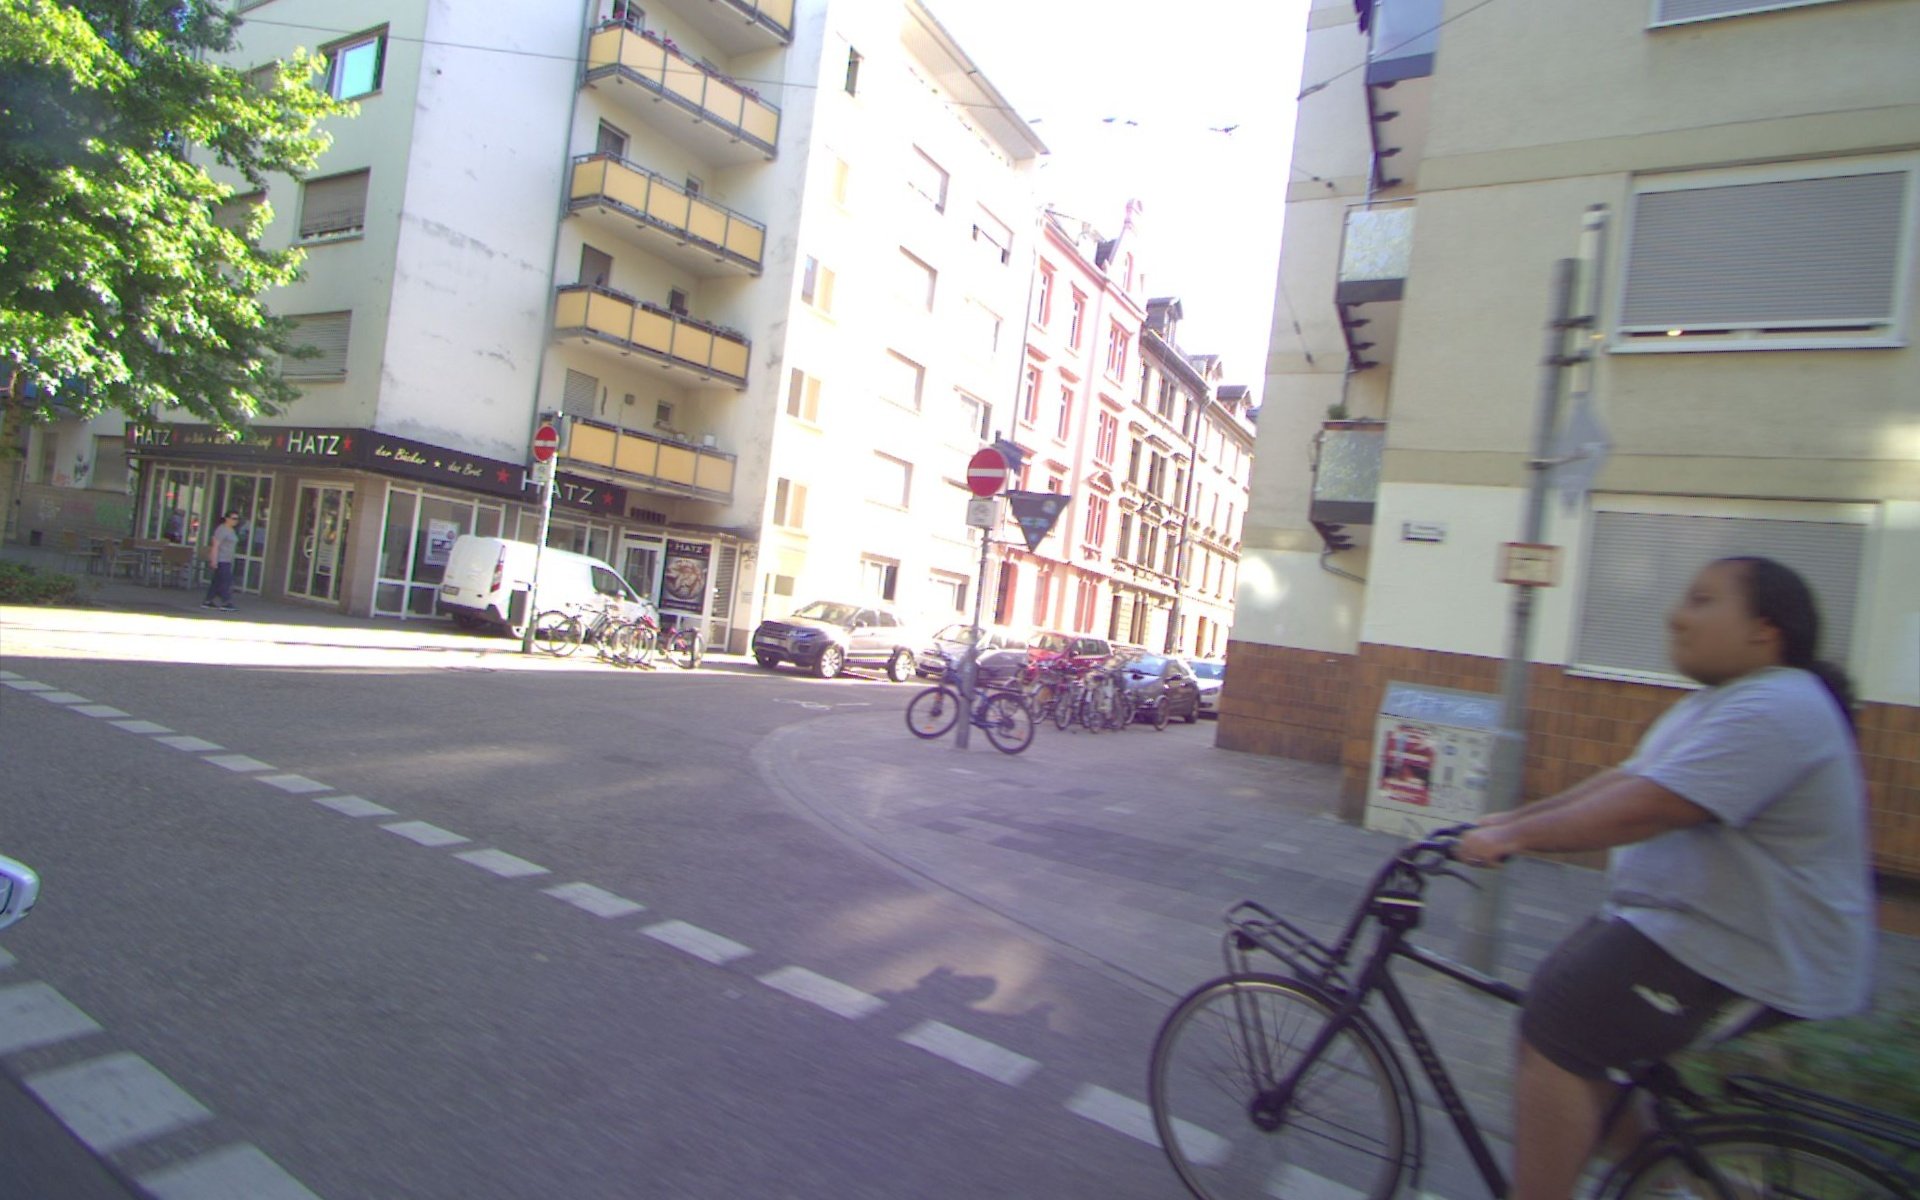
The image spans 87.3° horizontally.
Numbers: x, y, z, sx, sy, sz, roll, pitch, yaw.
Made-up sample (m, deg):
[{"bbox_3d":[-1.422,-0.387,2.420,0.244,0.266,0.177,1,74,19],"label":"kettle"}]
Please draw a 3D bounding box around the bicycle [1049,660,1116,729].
[{"bbox_3d":[2.086,1.562,16.917,0.479,1.028,1.968,7,0,23],"label":"bicycle"}]

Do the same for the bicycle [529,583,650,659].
[{"bbox_3d":[-6.475,0.396,17.655,0.692,1.130,1.837,7,-1,34],"label":"bicycle"}]

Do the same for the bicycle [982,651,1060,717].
[{"bbox_3d":[1.086,1.450,17.431,0.480,1.028,1.966,7,0,28],"label":"bicycle"}]

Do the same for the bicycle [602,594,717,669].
[{"bbox_3d":[-5.287,0.579,17.775,0.605,1.130,1.769,8,0,44],"label":"bicycle"}]

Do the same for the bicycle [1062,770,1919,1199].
[{"bbox_3d":[1.363,1.177,2.605,1.957,1.104,0.703,7,-2,31],"label":"bicycle"}]

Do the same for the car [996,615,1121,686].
[{"bbox_3d":[3.088,1.597,30.840,1.687,1.752,4.433,7,-1,35],"label":"car"}]

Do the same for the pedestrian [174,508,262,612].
[{"bbox_3d":[-12.688,-0.666,17.230,0.844,1.636,0.768,7,0,-15],"label":"pedestrian"}]

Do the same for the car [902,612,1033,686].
[{"bbox_3d":[0.277,1.326,26.480,1.703,1.589,3.651,7,-1,31],"label":"car"}]

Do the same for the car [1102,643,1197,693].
[{"bbox_3d":[7.016,2.519,36.909,1.687,1.479,4.435,7,-1,34],"label":"car"}]

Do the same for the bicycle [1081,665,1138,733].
[{"bbox_3d":[2.512,1.614,16.738,0.360,1.028,1.968,7,0,23],"label":"bicycle"}]

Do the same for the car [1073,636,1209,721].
[{"bbox_3d":[3.916,1.673,21.362,1.703,1.431,3.379,7,-1,29],"label":"car"}]

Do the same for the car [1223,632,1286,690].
[{"bbox_3d":[15.661,3.273,53.316,1.967,2.536,3.997,7,-3,32],"label":"car"}]

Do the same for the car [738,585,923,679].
[{"bbox_3d":[-2.721,0.758,21.970,1.773,1.625,4.012,7,-1,31],"label":"car"}]

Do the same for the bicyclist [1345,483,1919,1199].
[{"bbox_3d":[1.534,0.701,2.371,0.899,1.780,0.788,7,0,30],"label":"bicyclist"}]

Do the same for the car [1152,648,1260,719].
[{"bbox_3d":[6.405,2.151,25.928,1.568,1.477,3.926,7,-1,29],"label":"car"}]

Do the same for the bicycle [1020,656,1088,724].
[{"bbox_3d":[1.637,1.512,17.198,0.479,1.028,1.968,7,0,23],"label":"bicycle"}]

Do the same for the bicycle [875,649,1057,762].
[{"bbox_3d":[0.068,1.242,12.156,1.933,1.028,0.804,7,0,26],"label":"bicycle"}]

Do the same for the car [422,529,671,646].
[{"bbox_3d":[-8.364,-0.172,20.783,1.965,1.852,4.370,7,-1,27],"label":"car"}]
